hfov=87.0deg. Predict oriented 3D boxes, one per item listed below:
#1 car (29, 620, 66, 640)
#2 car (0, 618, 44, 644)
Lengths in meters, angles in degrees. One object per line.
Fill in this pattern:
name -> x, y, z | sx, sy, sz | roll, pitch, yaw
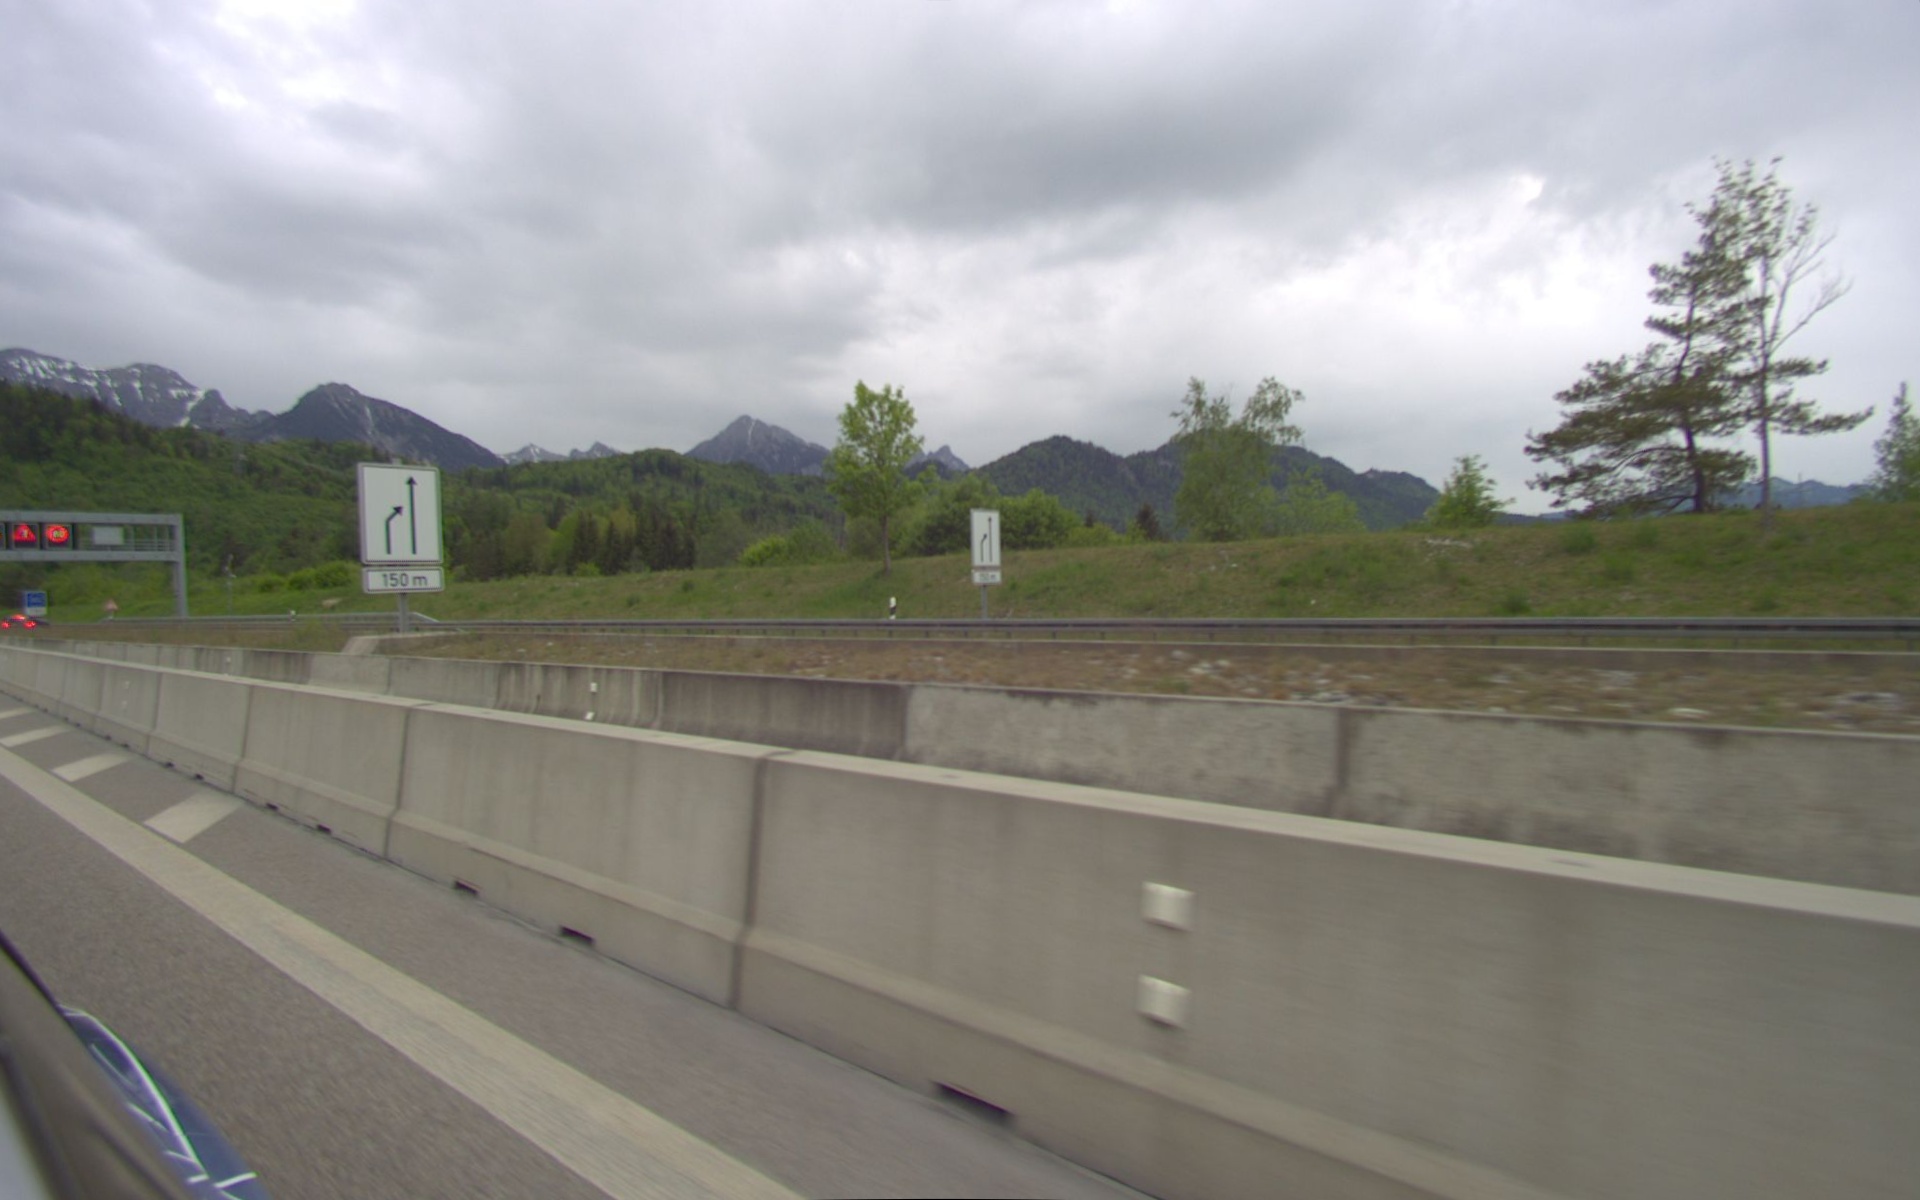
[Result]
car -> -78.525, 2.540, 87.053 | 4.402, 1.620, 1.750 | -2, 0, 40
car -> -67.449, 2.233, 72.600 | 5.747, 1.749, 1.859 | -2, 0, 40
